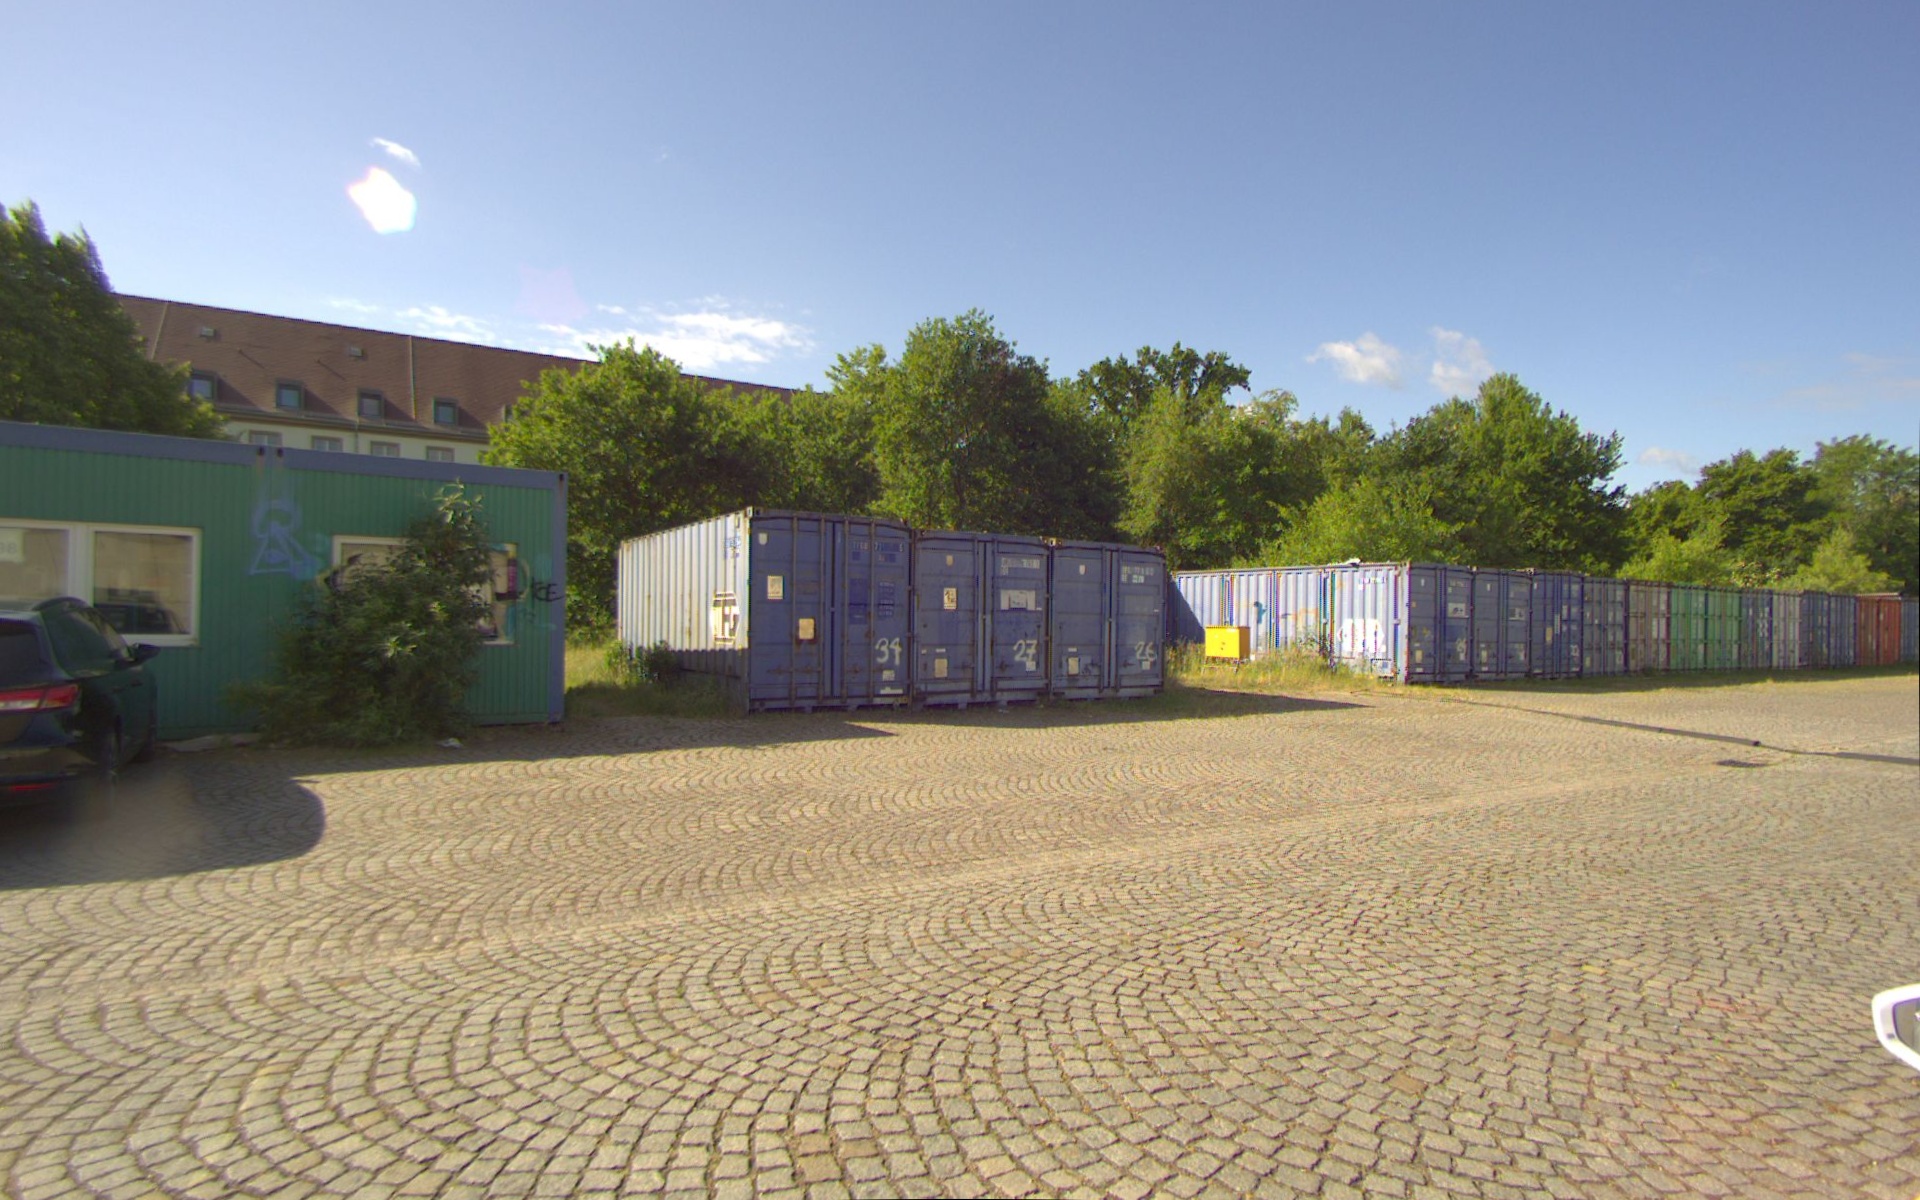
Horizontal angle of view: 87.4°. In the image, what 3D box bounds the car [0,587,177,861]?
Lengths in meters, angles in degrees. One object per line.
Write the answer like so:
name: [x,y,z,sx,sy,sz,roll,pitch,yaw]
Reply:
car: [-6.922,0.659,7.028,1.980,1.484,4.386,1,0,-34]
